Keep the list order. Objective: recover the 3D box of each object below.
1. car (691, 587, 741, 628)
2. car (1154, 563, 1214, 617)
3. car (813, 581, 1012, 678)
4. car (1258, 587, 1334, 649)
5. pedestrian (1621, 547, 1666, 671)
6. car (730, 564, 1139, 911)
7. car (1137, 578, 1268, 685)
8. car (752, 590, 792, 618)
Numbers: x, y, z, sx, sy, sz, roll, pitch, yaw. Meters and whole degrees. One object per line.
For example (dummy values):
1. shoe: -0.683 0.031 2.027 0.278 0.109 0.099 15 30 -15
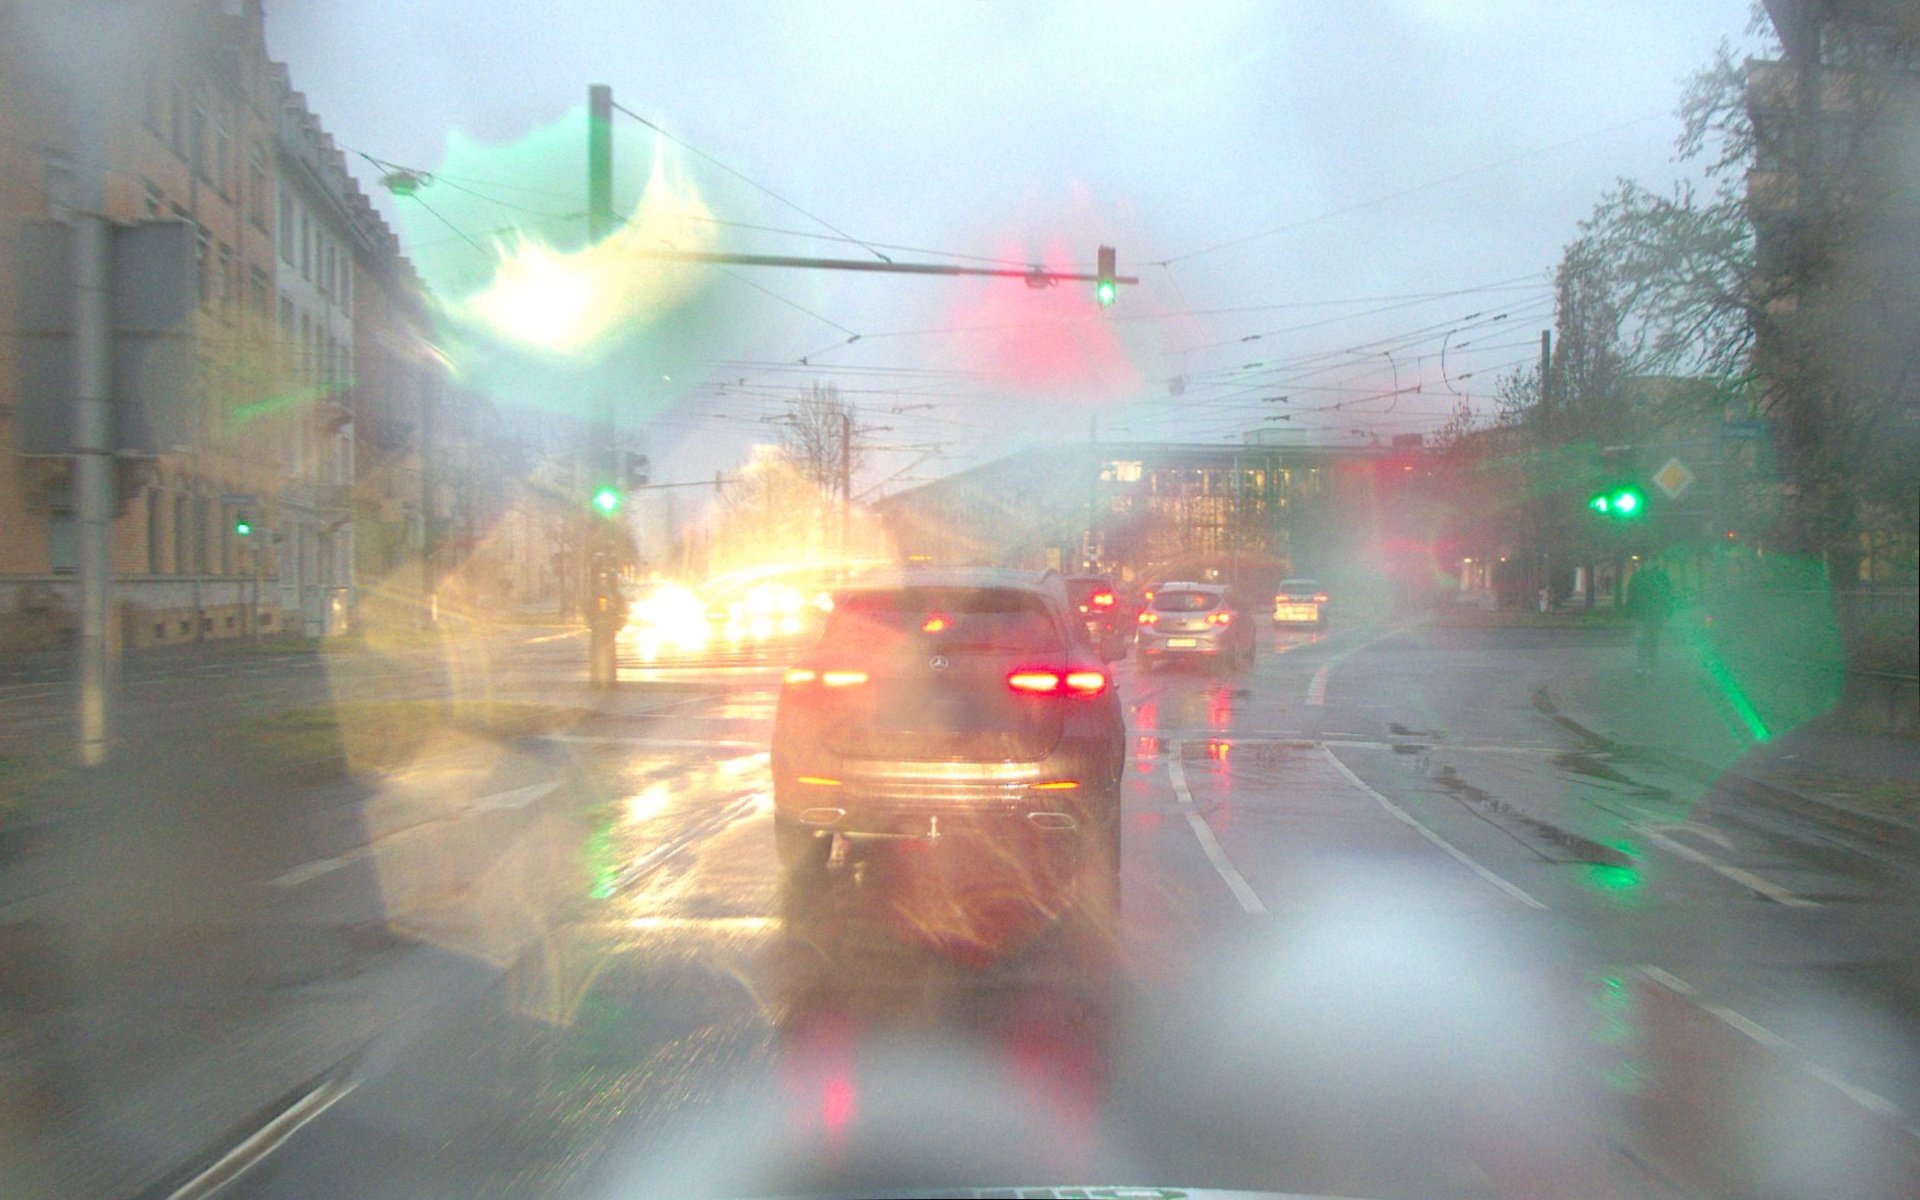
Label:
1. car: -9.150 0.264 62.269 1.647 1.483 4.058 0 0 -6
2. car: 7.831 -0.359 57.547 1.951 1.796 4.004 0 1 9
3. car: -0.675 0.423 26.850 1.952 1.422 4.002 0 1 19
4. car: 10.383 0.520 50.877 1.951 1.796 4.003 0 1 16
5. pedestrian: 10.500 0.124 25.424 0.560 1.870 0.684 0 2 15
6. car: -0.142 0.629 9.928 1.950 1.644 4.000 0 1 -1
7. car: 4.461 0.506 29.934 1.951 1.796 4.003 0 1 14
8. car: -8.859 0.161 77.806 1.509 1.267 4.075 -1 1 -12
